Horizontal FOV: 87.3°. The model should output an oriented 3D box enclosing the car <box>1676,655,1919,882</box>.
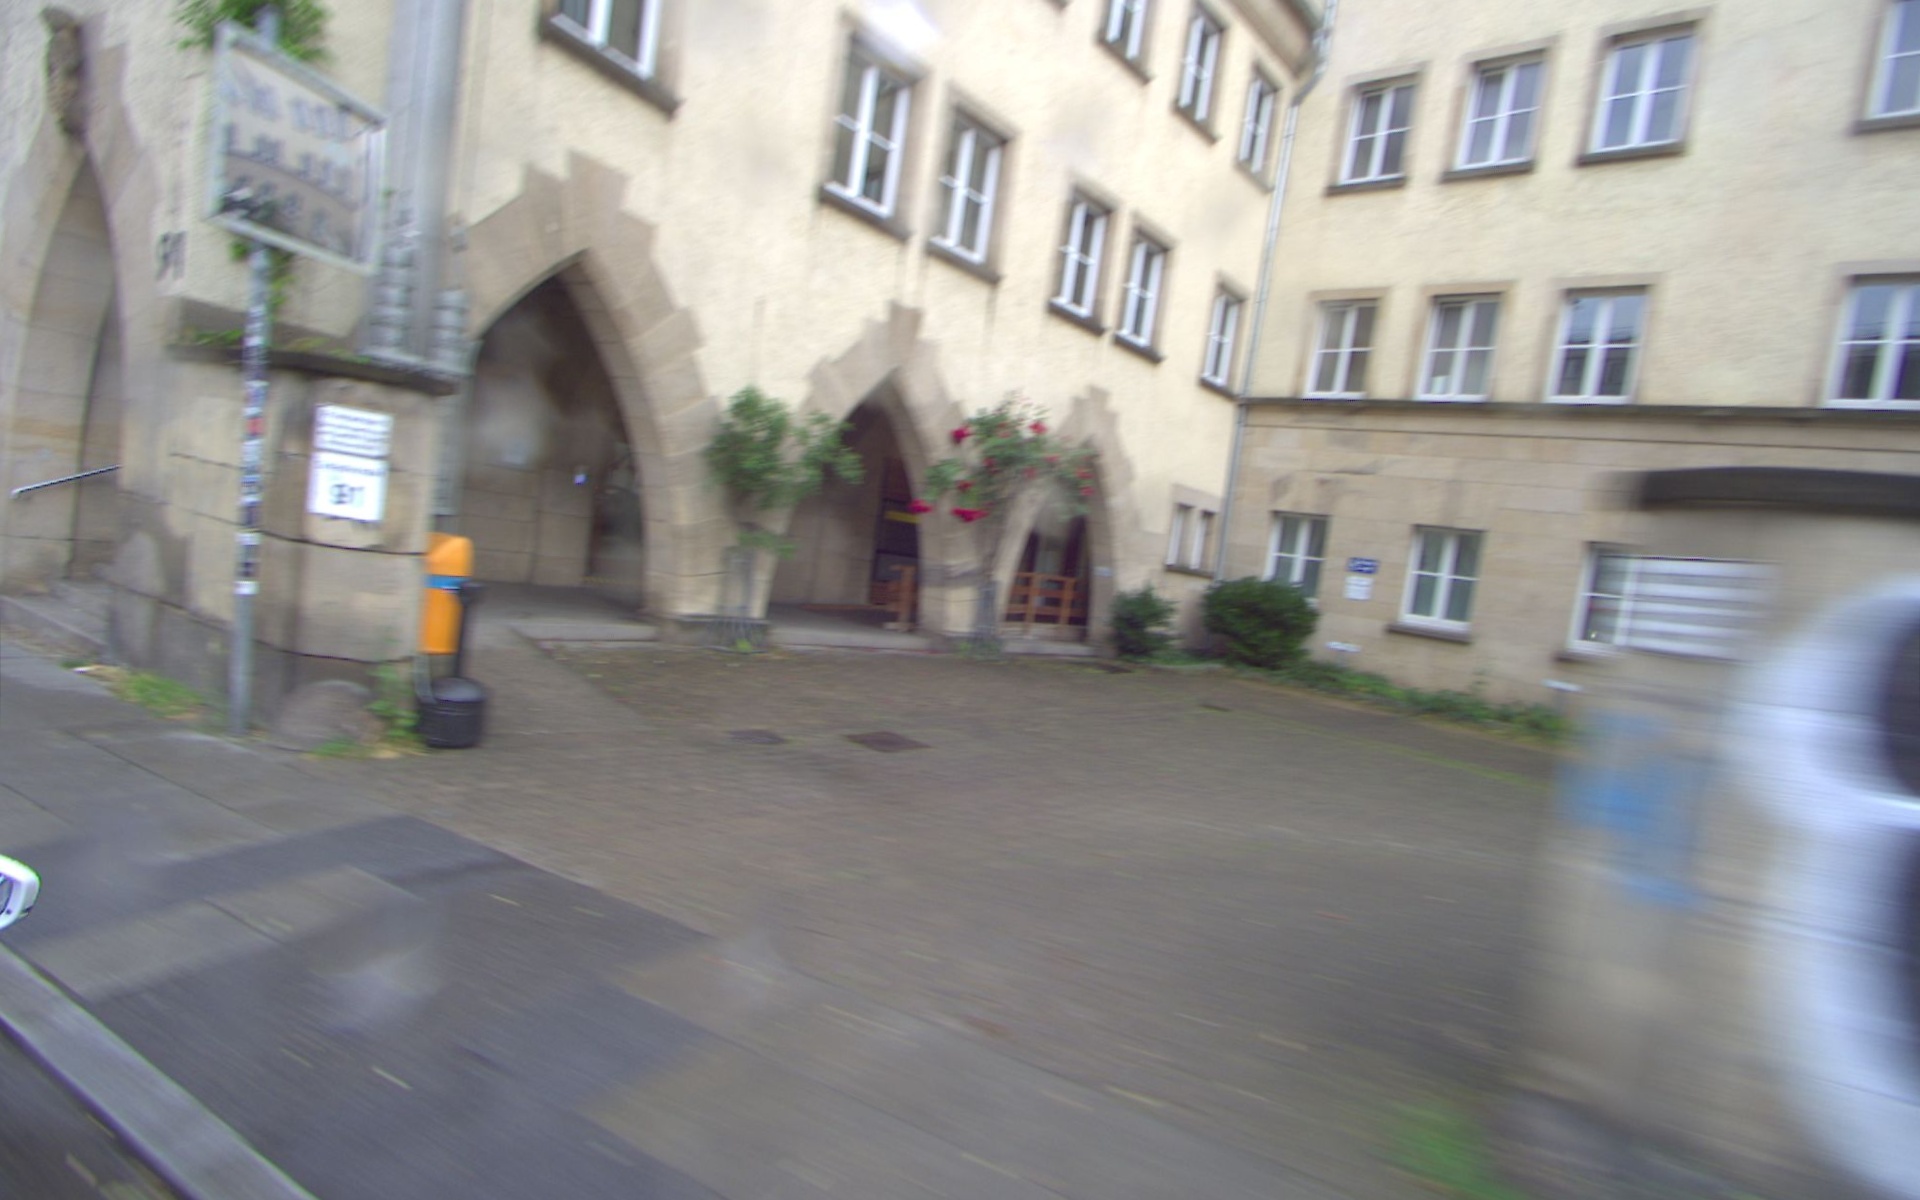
[{"bbox_3d":[9.071,1.564,10.796,1.768,1.610,4.441,11,5,39],"label":"car"}]
